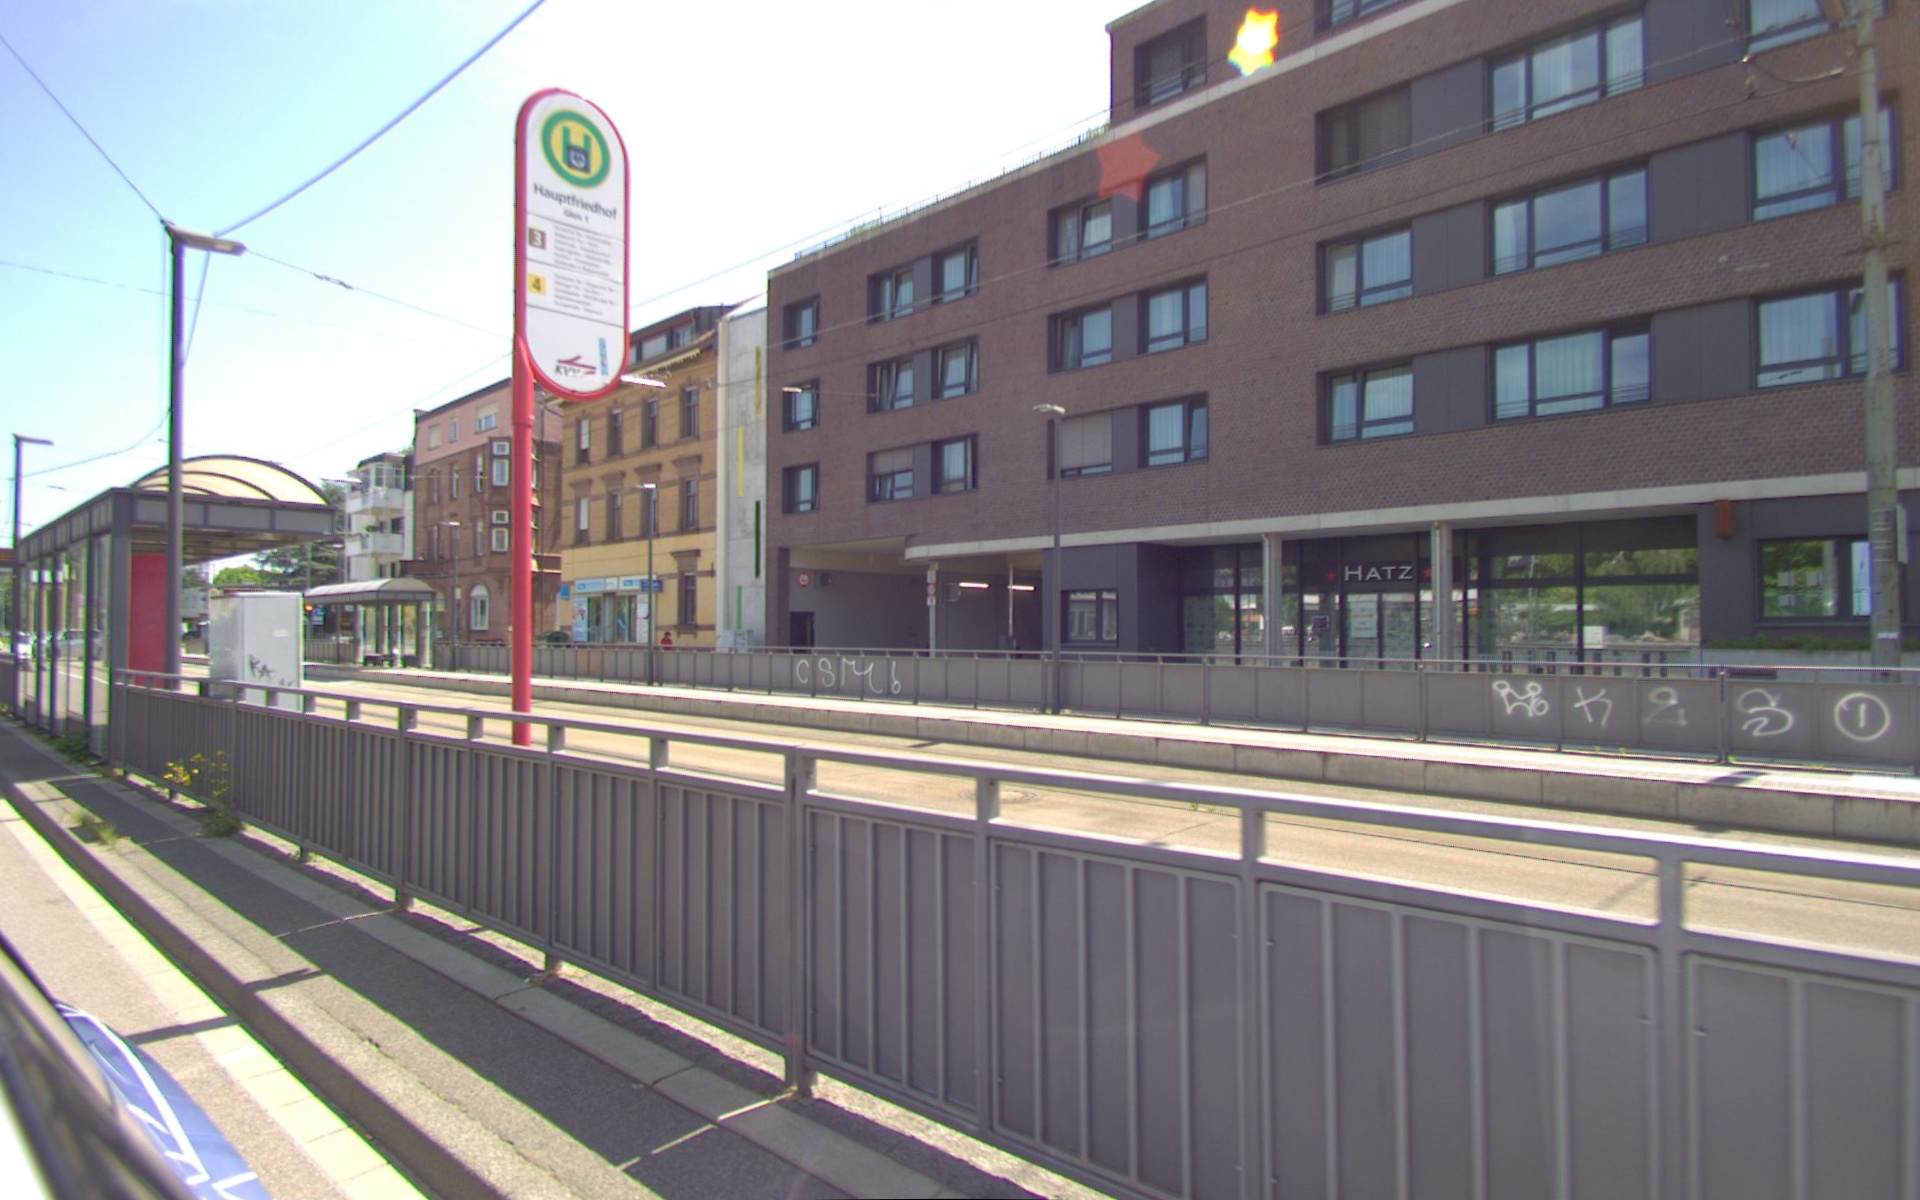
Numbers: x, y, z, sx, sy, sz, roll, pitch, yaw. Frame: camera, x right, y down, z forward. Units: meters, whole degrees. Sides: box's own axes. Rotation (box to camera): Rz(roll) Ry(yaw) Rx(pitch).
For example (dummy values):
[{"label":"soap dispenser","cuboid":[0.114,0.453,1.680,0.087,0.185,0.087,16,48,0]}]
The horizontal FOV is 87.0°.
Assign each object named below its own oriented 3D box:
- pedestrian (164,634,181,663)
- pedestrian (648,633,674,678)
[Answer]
[{"label":"pedestrian","cuboid":[-44.414,2.752,57.070,0.676,1.637,0.589,-2,-4,43]},{"label":"pedestrian","cuboid":[-10.920,2.006,36.960,0.715,1.608,0.597,-2,-3,41]}]
